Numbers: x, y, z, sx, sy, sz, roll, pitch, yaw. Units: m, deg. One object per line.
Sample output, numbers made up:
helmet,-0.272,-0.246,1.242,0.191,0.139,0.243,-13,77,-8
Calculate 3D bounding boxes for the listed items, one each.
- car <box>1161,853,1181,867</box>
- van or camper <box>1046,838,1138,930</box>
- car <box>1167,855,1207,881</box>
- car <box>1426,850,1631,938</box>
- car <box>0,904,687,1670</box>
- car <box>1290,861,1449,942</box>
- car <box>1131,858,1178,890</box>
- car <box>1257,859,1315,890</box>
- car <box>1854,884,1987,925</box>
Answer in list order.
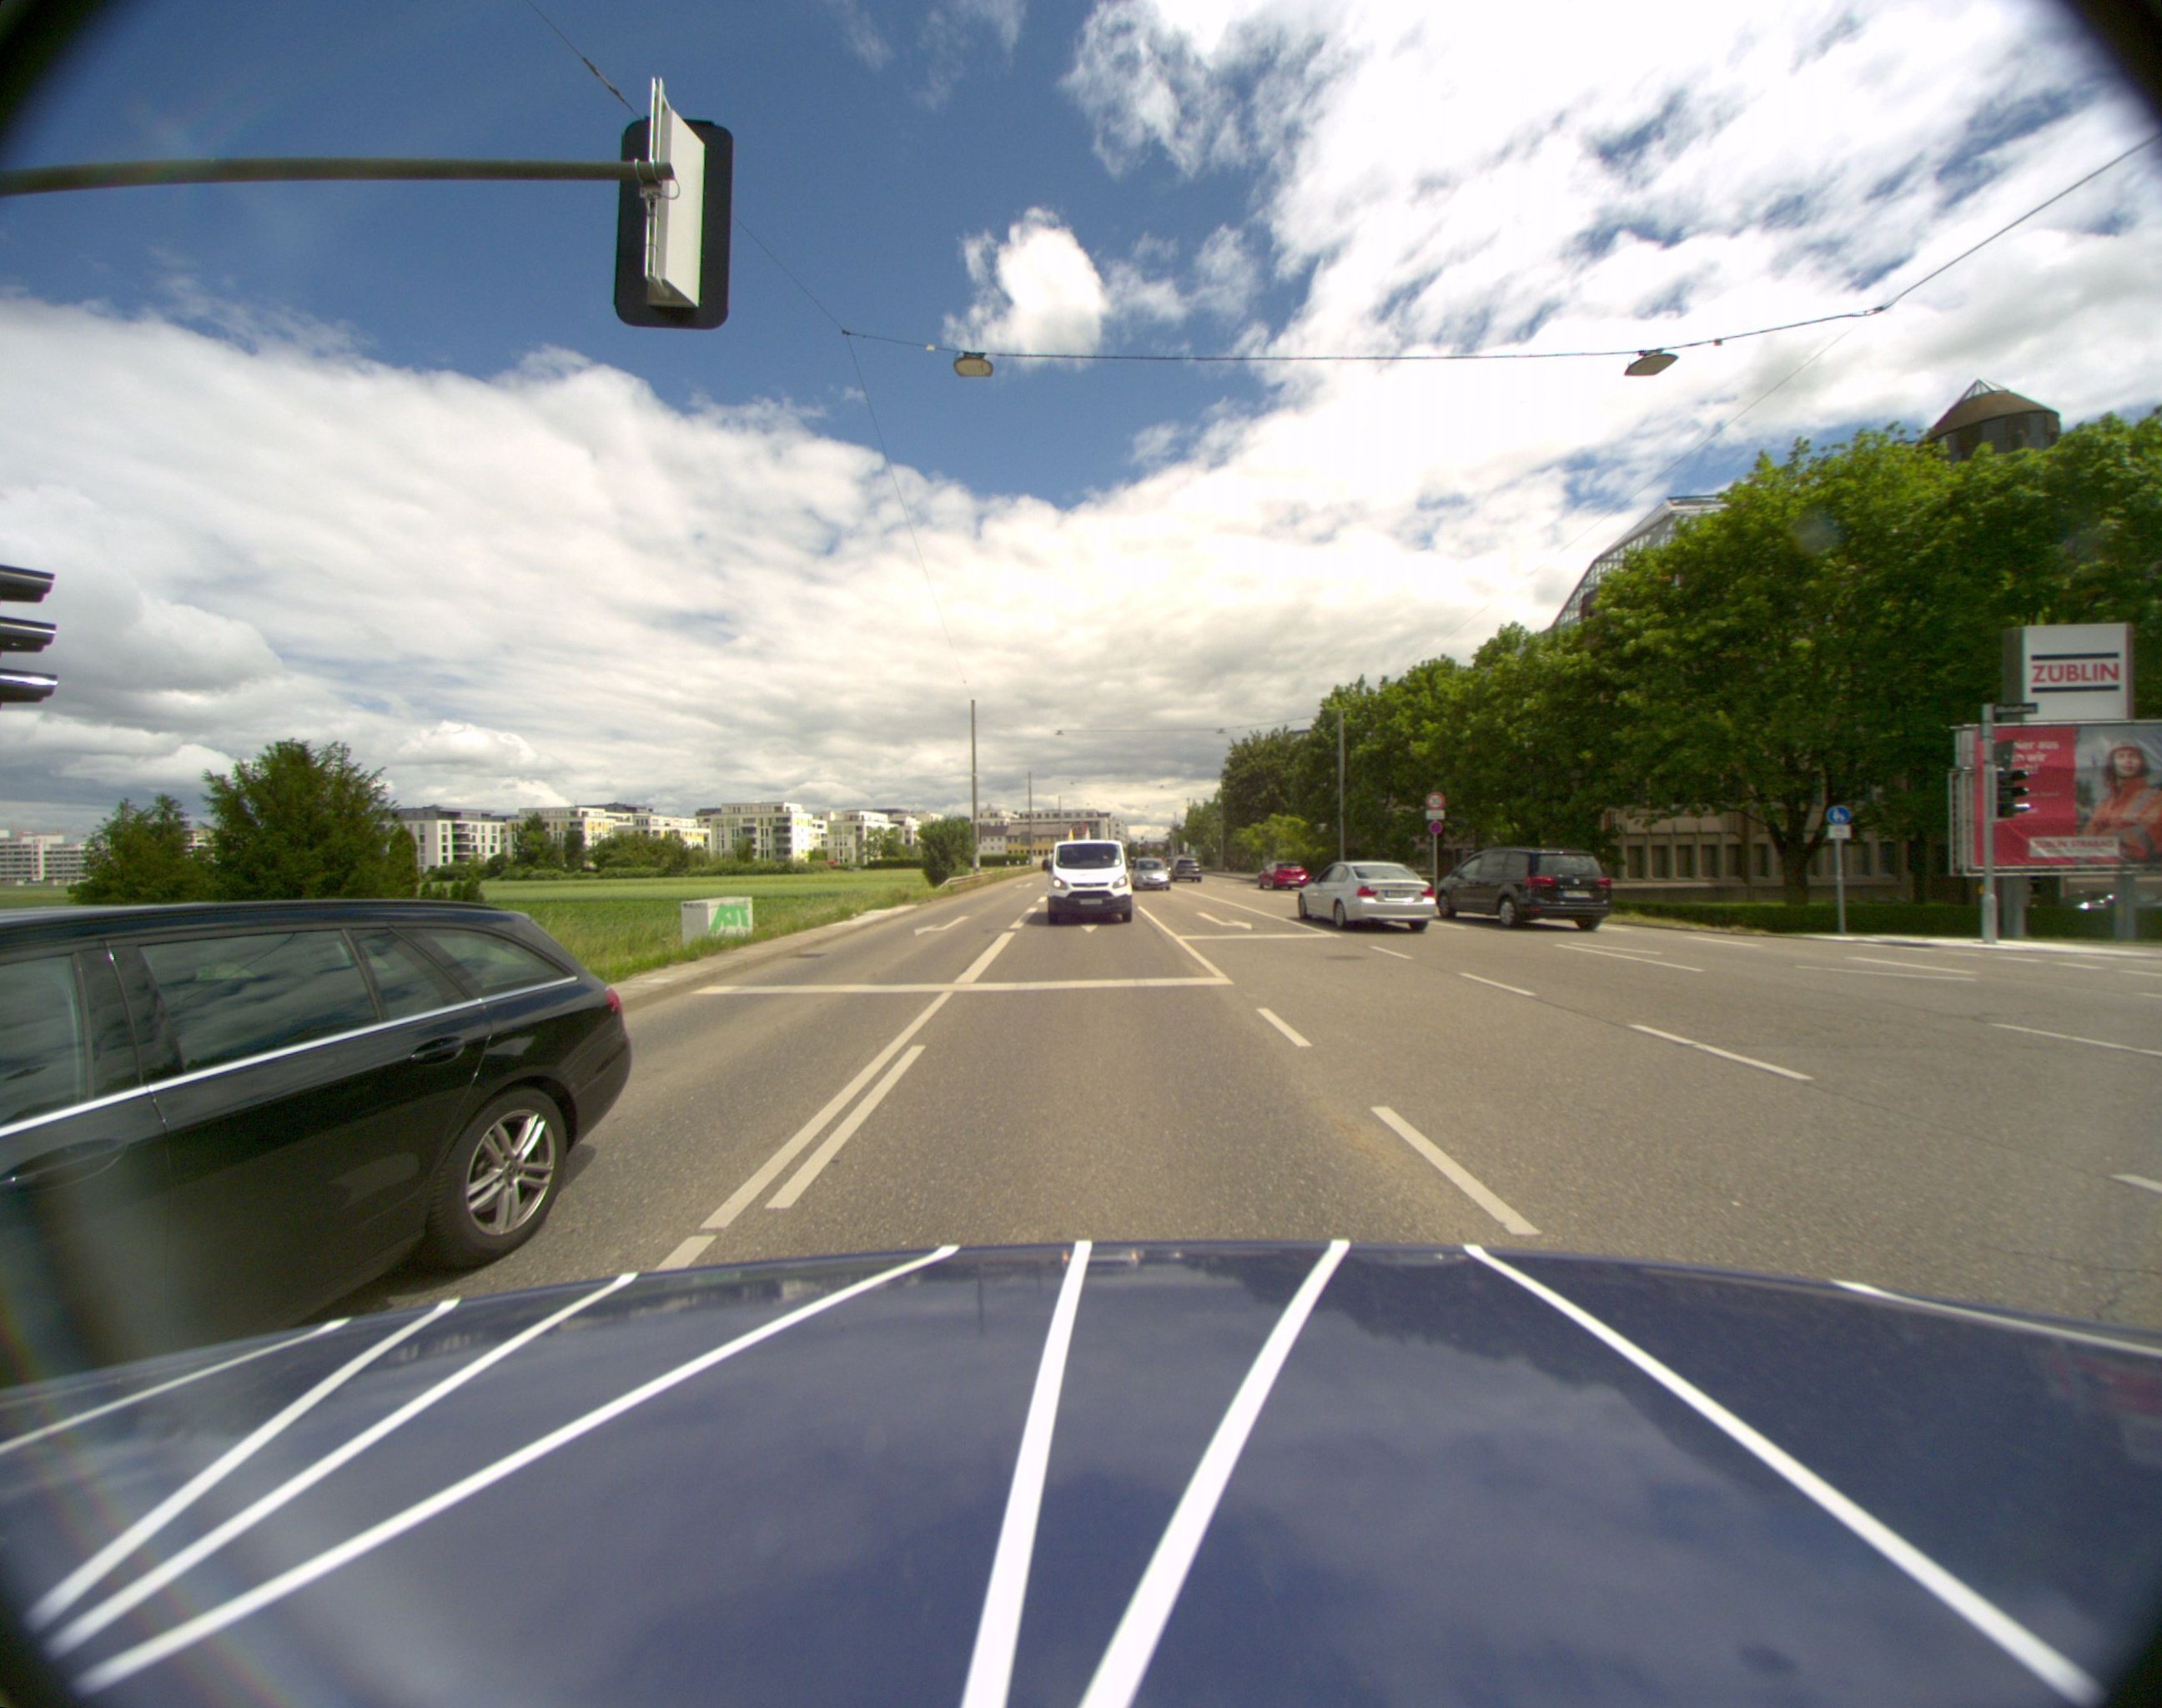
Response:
car,10.269,0.651,86.936,1.897,1.587,4.000,0,0,1
van or camper,0.254,0.664,19.678,1.998,2.002,5.799,-1,0,0
car,6.937,0.901,49.991,1.998,1.608,4.306,-1,0,0
car,9.821,0.788,17.231,1.998,1.692,4.761,-1,0,3
car,-3.232,1.023,1.779,1.877,1.432,5.199,-1,0,0
car,6.039,0.909,16.527,1.796,1.439,4.422,-1,0,1
car,3.464,0.912,36.475,1.894,1.433,4.000,-1,0,1
car,10.100,0.985,37.742,1.784,1.407,4.000,0,0,0
car,29.037,1.731,26.330,3.174,1.198,1.534,-2,1,-7
